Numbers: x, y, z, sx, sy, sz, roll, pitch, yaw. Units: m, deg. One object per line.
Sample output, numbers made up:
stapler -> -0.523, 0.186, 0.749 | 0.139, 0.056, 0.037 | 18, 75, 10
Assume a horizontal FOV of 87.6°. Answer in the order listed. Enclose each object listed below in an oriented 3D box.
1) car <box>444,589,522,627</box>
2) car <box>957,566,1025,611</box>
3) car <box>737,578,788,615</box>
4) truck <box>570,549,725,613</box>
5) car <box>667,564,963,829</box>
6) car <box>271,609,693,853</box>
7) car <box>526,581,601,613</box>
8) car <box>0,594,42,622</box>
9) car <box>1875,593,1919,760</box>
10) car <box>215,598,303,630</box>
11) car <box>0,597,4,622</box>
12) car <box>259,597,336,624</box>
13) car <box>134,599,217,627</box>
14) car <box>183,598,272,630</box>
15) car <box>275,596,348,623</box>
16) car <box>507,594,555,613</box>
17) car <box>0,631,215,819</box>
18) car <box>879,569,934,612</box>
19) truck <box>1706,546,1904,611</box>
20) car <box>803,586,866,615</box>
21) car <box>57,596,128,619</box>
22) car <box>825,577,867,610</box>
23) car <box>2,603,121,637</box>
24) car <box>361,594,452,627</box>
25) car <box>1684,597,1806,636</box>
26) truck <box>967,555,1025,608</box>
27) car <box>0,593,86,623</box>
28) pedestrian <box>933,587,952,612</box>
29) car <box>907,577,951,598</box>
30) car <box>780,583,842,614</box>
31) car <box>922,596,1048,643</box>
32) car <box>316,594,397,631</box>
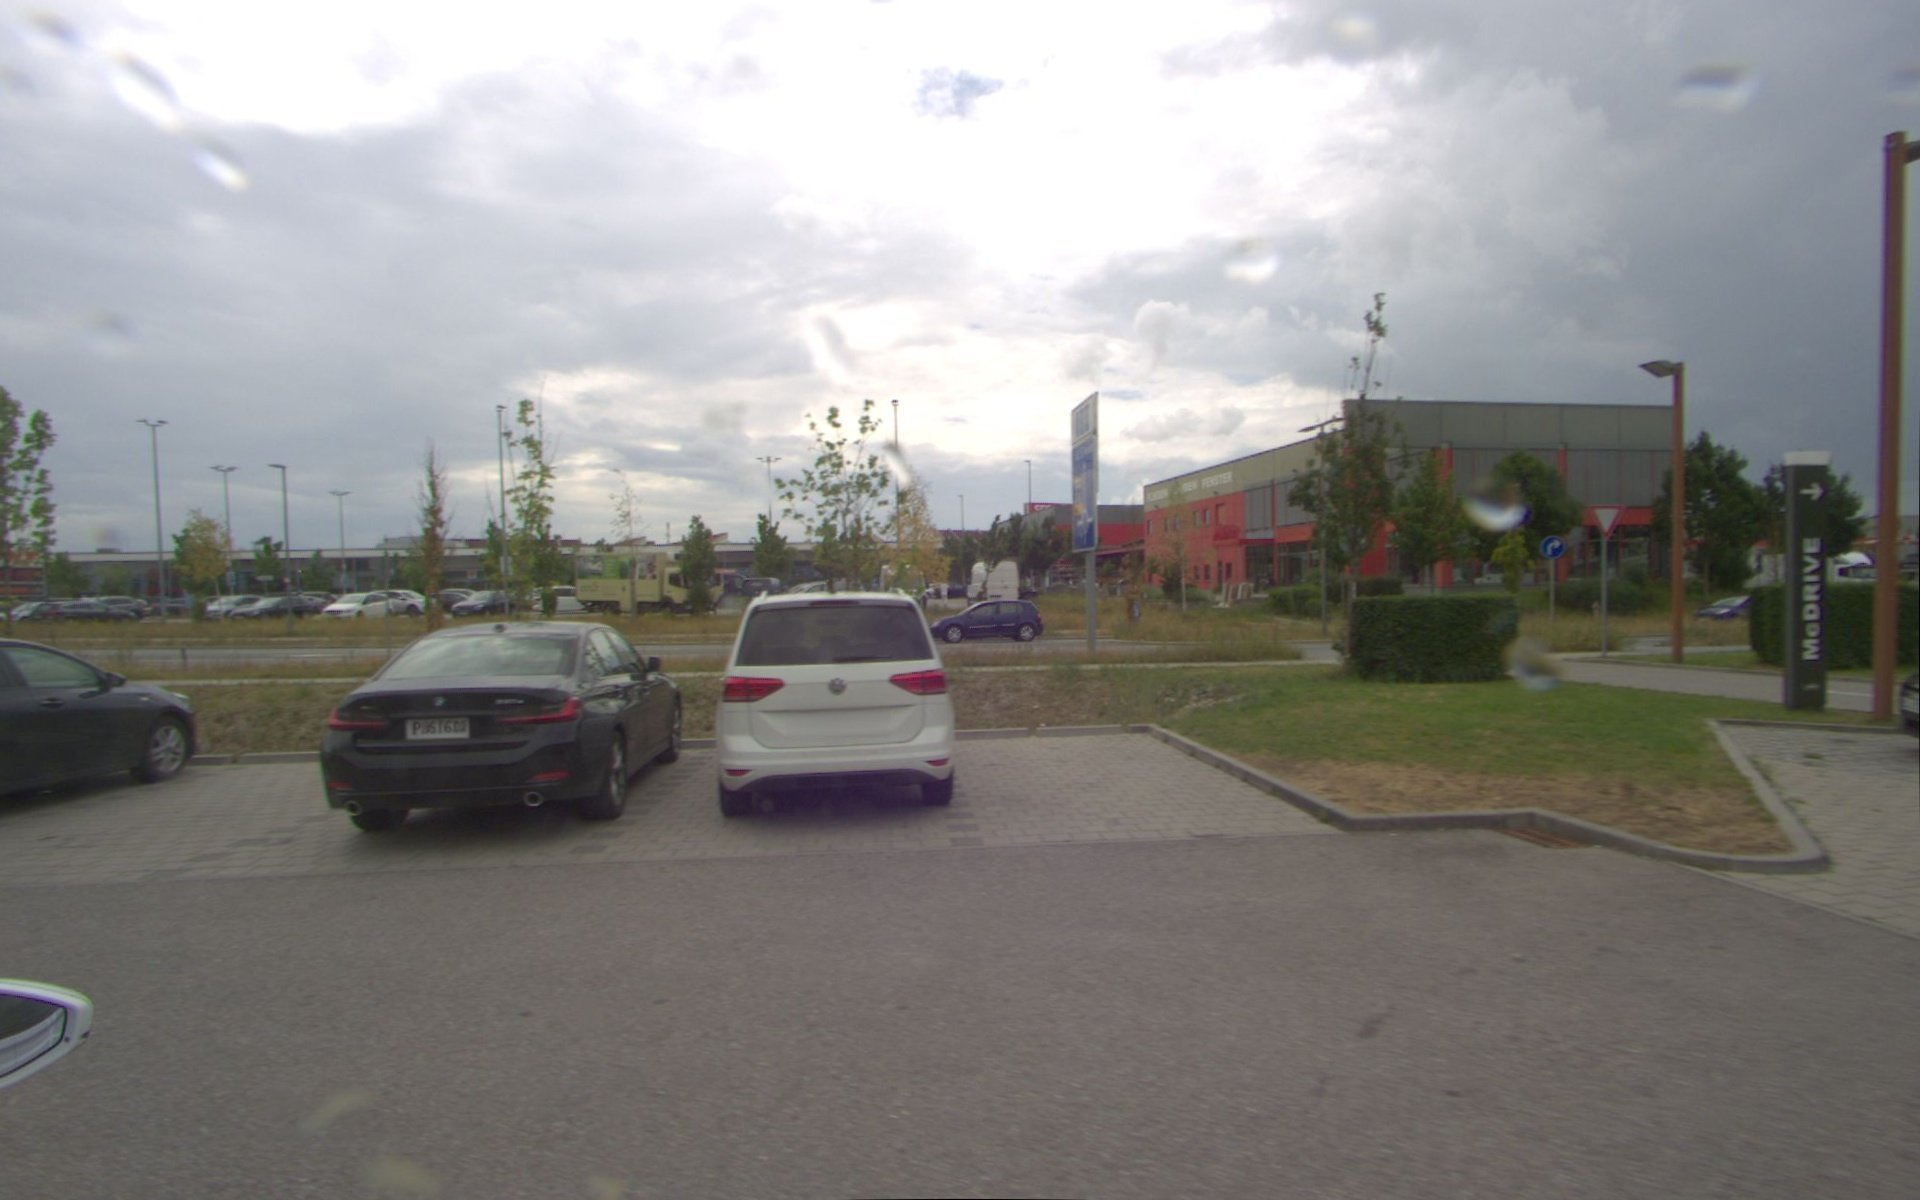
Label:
car -> -25.541, 0.391, 53.759 | 1.894, 1.796, 4.318 | -1, 2, 3
car -> 1.606, -0.671, 55.293 | 2.302, 2.299, 6.496 | -1, 2, -11
car -> -10.638, -0.170, 54.159 | 2.037, 1.910, 5.068 | 0, 0, -4
truck -> -16.861, -1.001, 53.934 | 8.302, 3.240, 3.015 | 0, 2, 29
car -> -1.268, 0.691, 8.889 | 1.954, 1.735, 4.372 | -1, -1, -8
car -> -3.577, 0.873, 8.534 | 1.910, 1.485, 4.516 | -1, -1, -7
car -> -24.119, -0.204, 60.897 | 3.943, 1.796, 1.988 | -2, 2, -31
car -> -56.513, 0.483, 58.513 | 1.961, 1.561, 4.052 | -1, 2, 1
car -> 10.026, 0.659, 7.859 | 3.869, 1.431, 1.680 | 0, 0, 29
car -> -38.376, 0.718, 54.936 | 1.737, 1.561, 4.052 | -1, 2, 3
car -> -59.817, 0.641, 59.522 | 1.828, 1.522, 4.071 | -1, 2, 4
car -> -47.994, 0.748, 72.597 | 4.106, 1.863, 1.998 | -1, 2, -7
car -> -55.517, 0.922, 70.897 | 4.106, 1.863, 1.998 | -1, 2, -7
car -> -40.602, 0.732, 55.628 | 1.737, 1.561, 4.052 | -1, 2, 3
car -> -48.578, 0.680, 75.077 | 4.106, 1.863, 1.998 | -1, 2, -7
car -> -44.089, 0.331, 103.054 | 4.106, 1.863, 1.998 | -1, 2, -7
car -> -8.386, 0.992, 8.238 | 1.852, 1.430, 4.070 | -1, -1, -7
car -> -3.029, -0.584, 54.963 | 2.370, 2.245, 6.052 | -1, 2, -9
truck -> 64.214, -1.700, 76.769 | 3.696, 4.561, 11.983 | -1, 2, -9
car -> -8.164, 0.033, 64.844 | 3.924, 1.762, 1.888 | -1, 2, -10
car -> -74.813, 0.599, 86.407 | 4.106, 1.863, 1.998 | -1, 2, -6
car -> -6.224, -0.417, 54.217 | 2.038, 1.661, 5.064 | 0, 2, -9
car -> -46.154, 0.994, 51.556 | 1.963, 1.561, 4.154 | 0, 2, 13
car -> -32.666, 0.594, 59.220 | 4.237, 1.796, 1.920 | -1, 2, -3
car -> 32.317, 0.666, 41.262 | 3.845, 1.480, 1.659 | -1, 2, -5
truck -> 2.648, -1.489, 76.501 | 2.607, 3.795, 8.244 | -1, 2, -10
car -> -53.617, 0.447, 58.209 | 1.961, 1.561, 4.052 | -1, 2, 1
pedestrian -> -1.032, -0.012, 59.255 | 0.959, 1.449, 0.786 | -1, 3, -10
car -> -2.902, -1.203, 93.219 | 3.923, 1.863, 1.998 | -1, 2, -7
car -> -10.226, -0.119, 68.810 | 3.929, 2.041, 1.995 | -1, 2, -17
car -> 0.830, 0.669, 35.369 | 4.335, 1.506, 1.929 | -1, 2, -3
car -> -32.781, 0.626, 54.537 | 1.961, 1.796, 4.317 | -1, 2, -4
